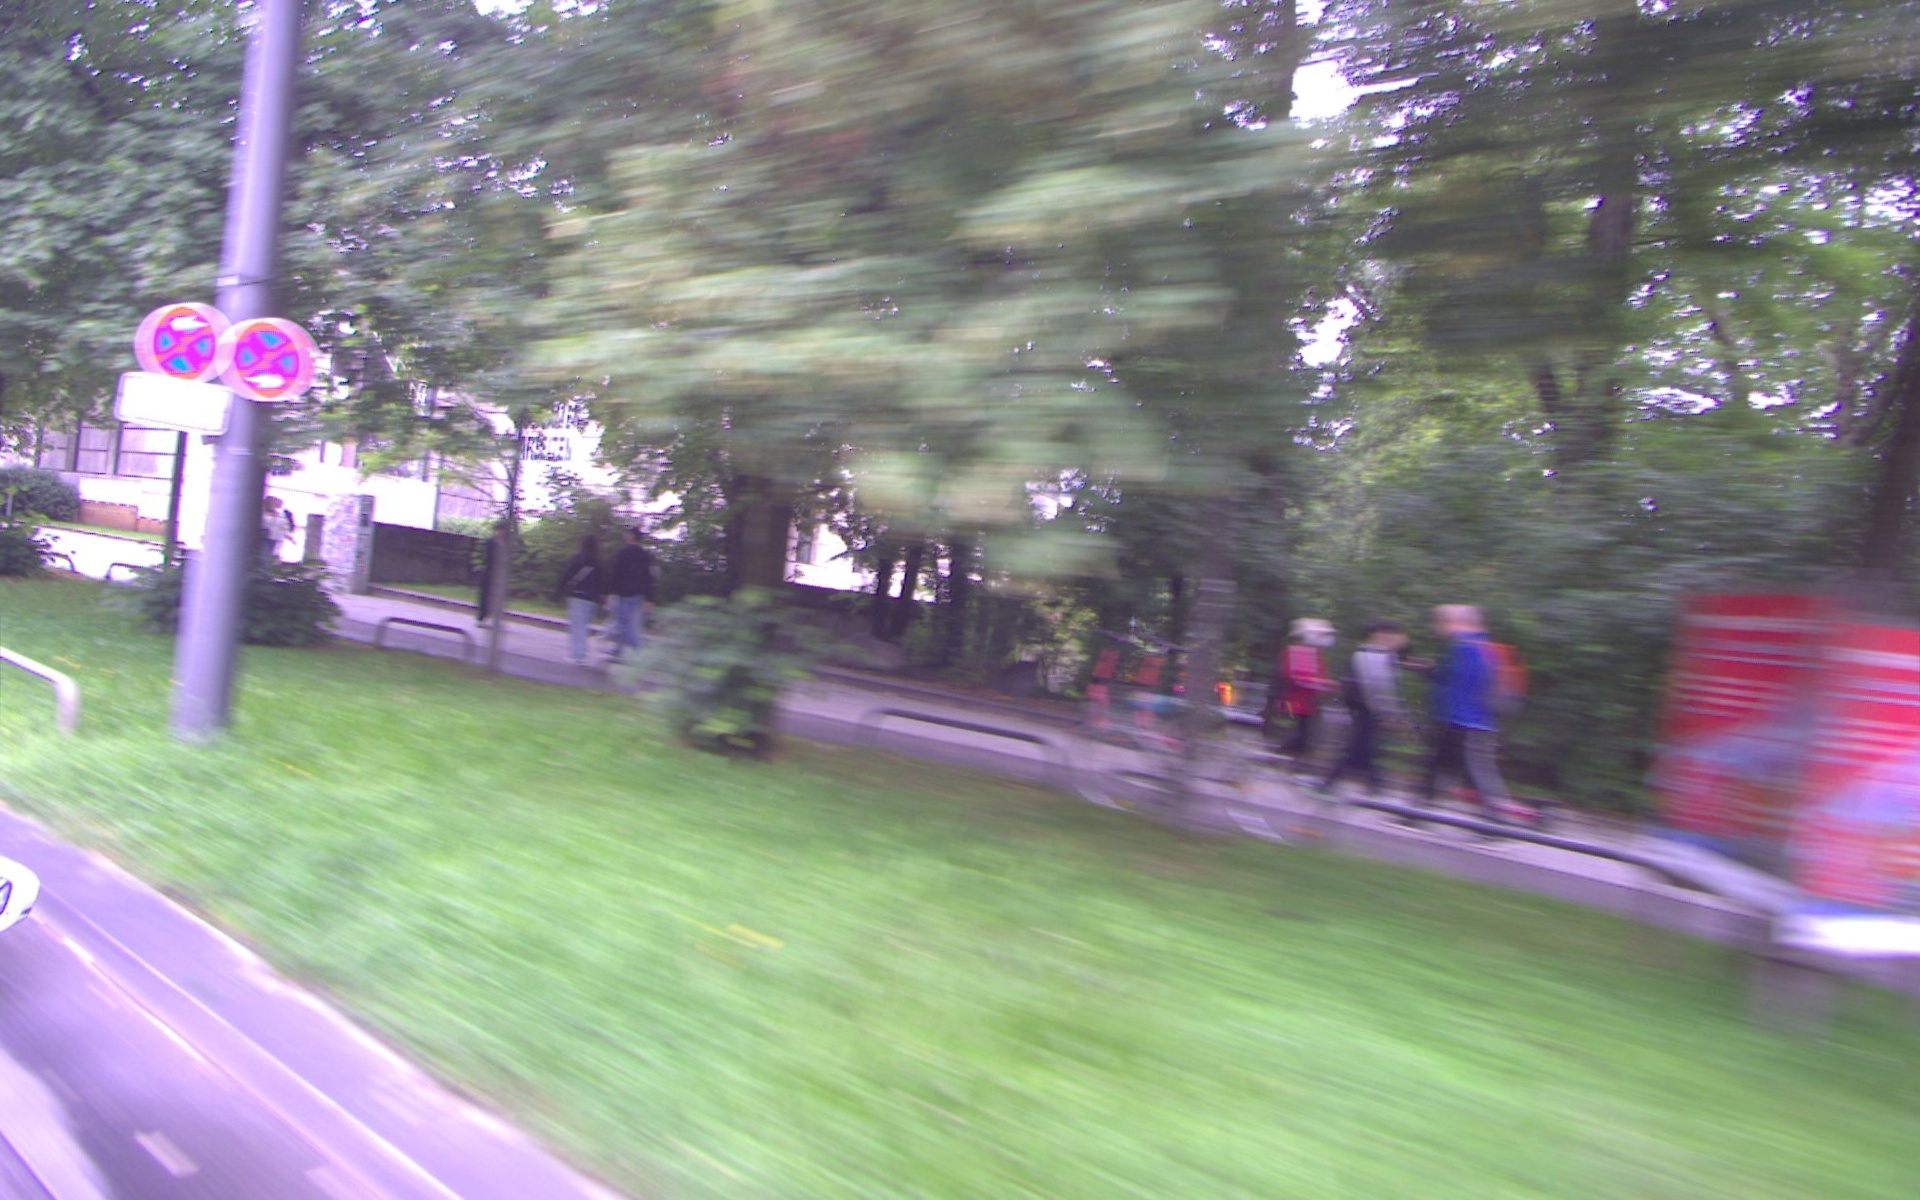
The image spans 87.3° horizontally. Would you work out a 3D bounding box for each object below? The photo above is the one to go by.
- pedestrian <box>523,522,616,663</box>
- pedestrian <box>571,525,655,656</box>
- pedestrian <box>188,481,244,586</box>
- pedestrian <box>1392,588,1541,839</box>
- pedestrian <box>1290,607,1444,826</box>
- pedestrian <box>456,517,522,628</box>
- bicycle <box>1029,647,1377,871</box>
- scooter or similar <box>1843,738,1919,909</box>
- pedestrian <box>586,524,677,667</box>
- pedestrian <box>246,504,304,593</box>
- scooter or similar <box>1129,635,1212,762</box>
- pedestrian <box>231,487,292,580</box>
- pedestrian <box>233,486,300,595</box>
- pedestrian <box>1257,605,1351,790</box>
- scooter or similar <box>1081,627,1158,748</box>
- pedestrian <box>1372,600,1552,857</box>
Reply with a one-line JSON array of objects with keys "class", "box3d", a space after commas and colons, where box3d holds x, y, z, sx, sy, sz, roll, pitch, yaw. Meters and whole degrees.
[{"class": "pedestrian", "box3d": [-5.036, -0.090, 12.973, 0.742, 1.701, 0.608, 7, -1, 35]}, {"class": "pedestrian", "box3d": [-5.094, -0.140, 14.770, 0.769, 1.794, 0.631, 7, -1, 35]}, {"class": "pedestrian", "box3d": [-15.160, -1.344, 20.500, 0.712, 2.040, 0.594, 7, 2, 32]}, {"class": "pedestrian", "box3d": [4.084, 0.891, 8.112, 0.836, 1.843, 0.589, 7, -1, 32]}, {"class": "pedestrian", "box3d": [3.576, 1.006, 8.852, 0.753, 1.757, 0.839, 8, -1, -44]}, {"class": "pedestrian", "box3d": [-7.646, -0.446, 16.332, 0.544, 1.695, 0.581, 7, -1, 35]}, {"class": "bicycle", "box3d": [1.494, 0.952, 6.446, 2.044, 1.033, 0.385, 7, -1, 32]}, {"class": "scooter or similar", "box3d": [7.526, 1.740, 7.538, 1.198, 1.212, 0.419, 7, -1, 32]}, {"class": "pedestrian", "box3d": [-4.393, -0.063, 13.454, 0.784, 1.784, 0.608, 7, -1, 35]}, {"class": "pedestrian", "box3d": [-14.874, -1.102, 21.841, 0.710, 1.833, 0.596, 6, 2, 7]}, {"class": "scooter or similar", "box3d": [2.252, 1.040, 10.840, 0.301, 1.239, 0.923, 7, 0, -19]}, {"class": "pedestrian", "box3d": [-14.500, -1.361, 20.895, 0.710, 1.833, 0.596, 6, 2, 7]}, {"class": "pedestrian", "box3d": [-13.762, -1.173, 19.963, 0.764, 2.041, 0.763, 7, 3, 32]}, {"class": "pedestrian", "box3d": [3.346, 0.934, 9.800, 0.651, 1.656, 0.683, 7, -1, 19]}, {"class": "scooter or similar", "box3d": [1.766, 0.954, 11.218, 0.301, 1.239, 0.923, 7, 0, -19]}, {"class": "pedestrian", "box3d": [3.804, 0.950, 7.633, 0.753, 1.757, 0.839, 8, -1, -44]}]
